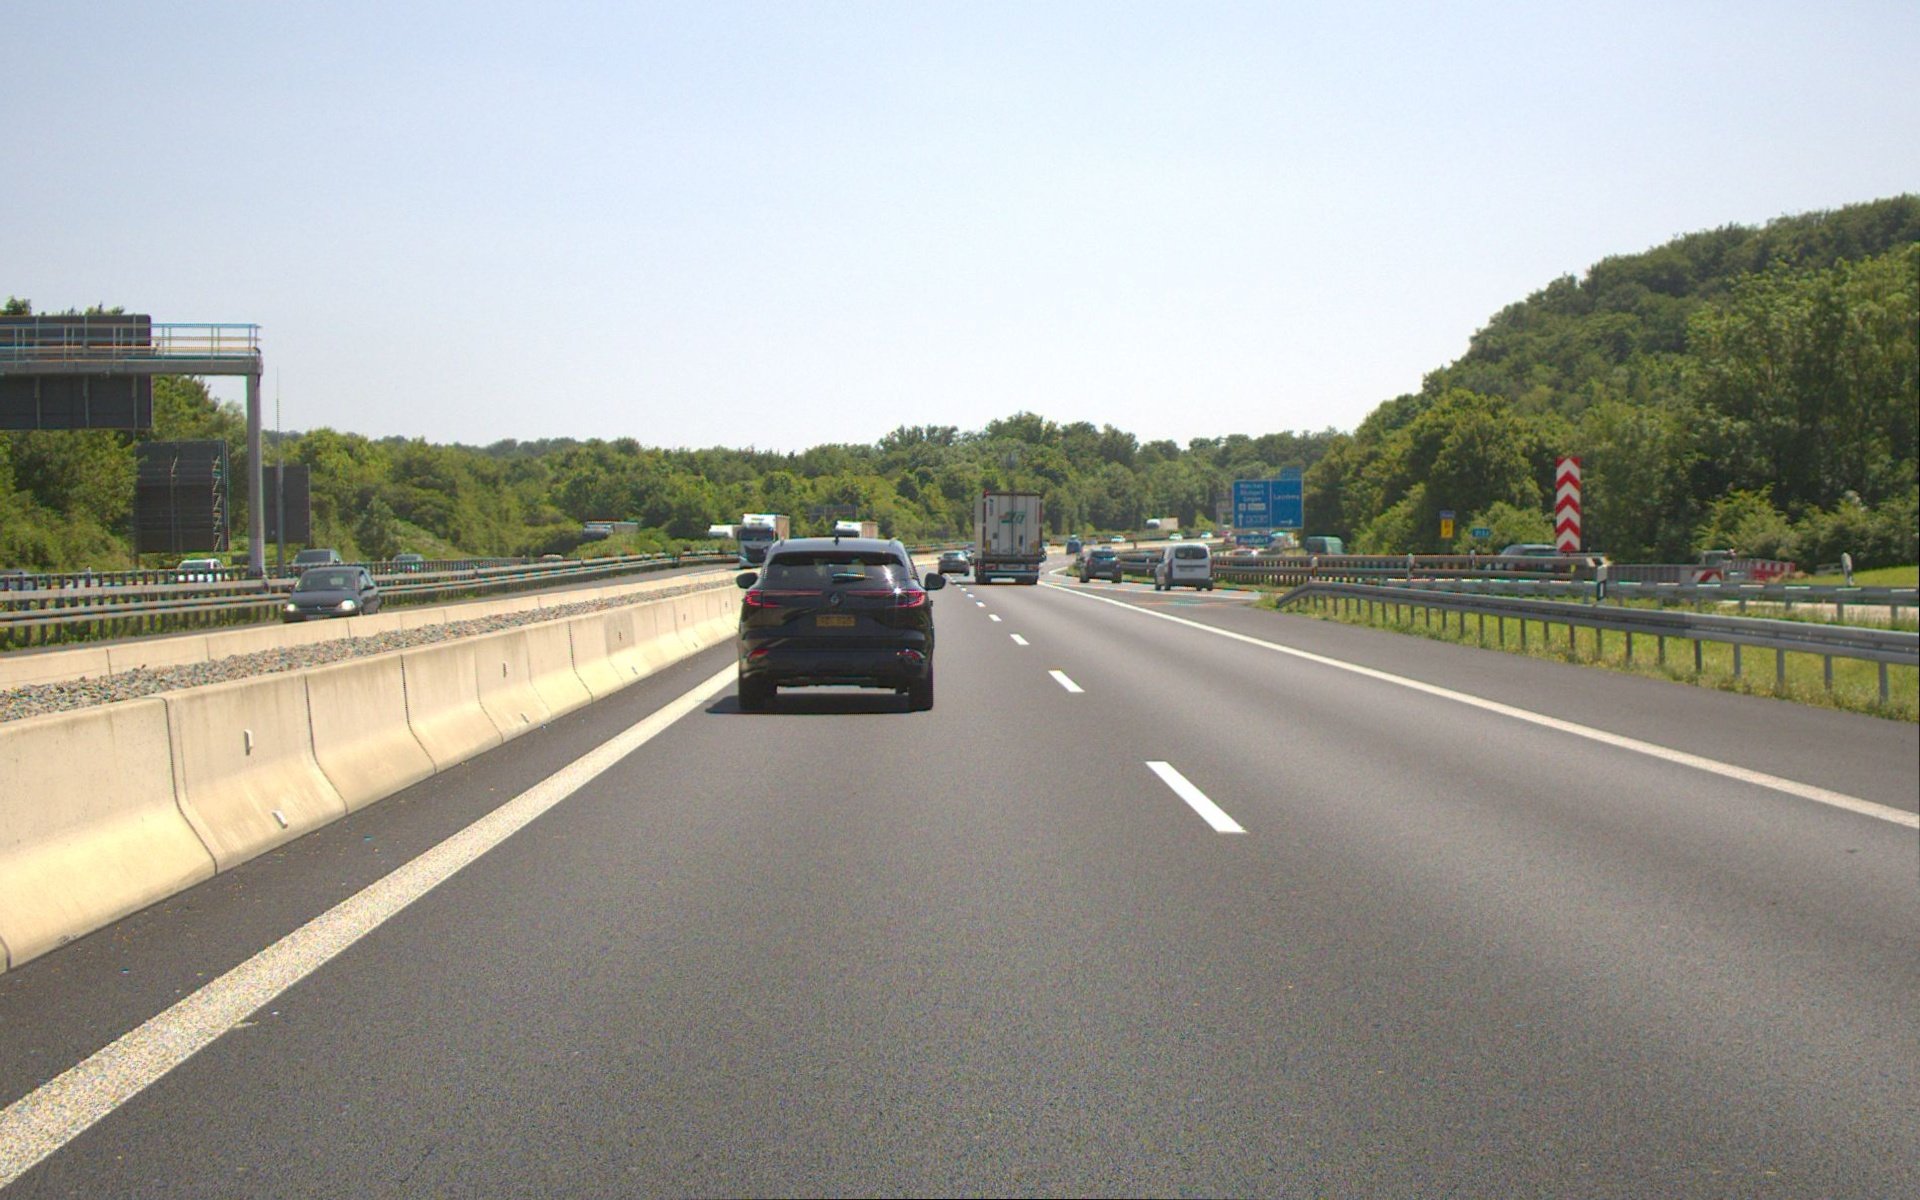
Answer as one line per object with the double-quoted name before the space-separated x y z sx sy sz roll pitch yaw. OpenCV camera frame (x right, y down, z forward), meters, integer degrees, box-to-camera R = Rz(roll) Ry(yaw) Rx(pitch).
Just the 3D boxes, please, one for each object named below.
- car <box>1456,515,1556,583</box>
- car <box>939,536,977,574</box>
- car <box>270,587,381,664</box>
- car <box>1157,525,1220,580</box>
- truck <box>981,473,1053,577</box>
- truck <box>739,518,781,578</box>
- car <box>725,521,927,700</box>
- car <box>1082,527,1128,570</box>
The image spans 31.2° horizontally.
"car" 17.121 -1.591 107.970 1.993 2.007 4.001 -2 1 -7
"car" -0.114 -2.662 203.042 2.138 2.209 5.088 1 0 -1
"car" -13.494 0.523 73.269 1.833 1.529 4.160 1 0 -4
"car" 8.706 -1.817 131.235 1.993 2.007 4.000 -2 1 -1
"truck" 2.566 -3.280 153.398 3.032 4.403 12.018 1 0 1
"truck" -14.679 -3.806 252.191 2.705 4.273 4.554 1 0 -7
"car" -1.312 0.076 32.916 1.779 1.572 4.001 1 0 -3
"car" 6.949 -2.470 165.225 1.993 2.007 4.000 1 0 0
